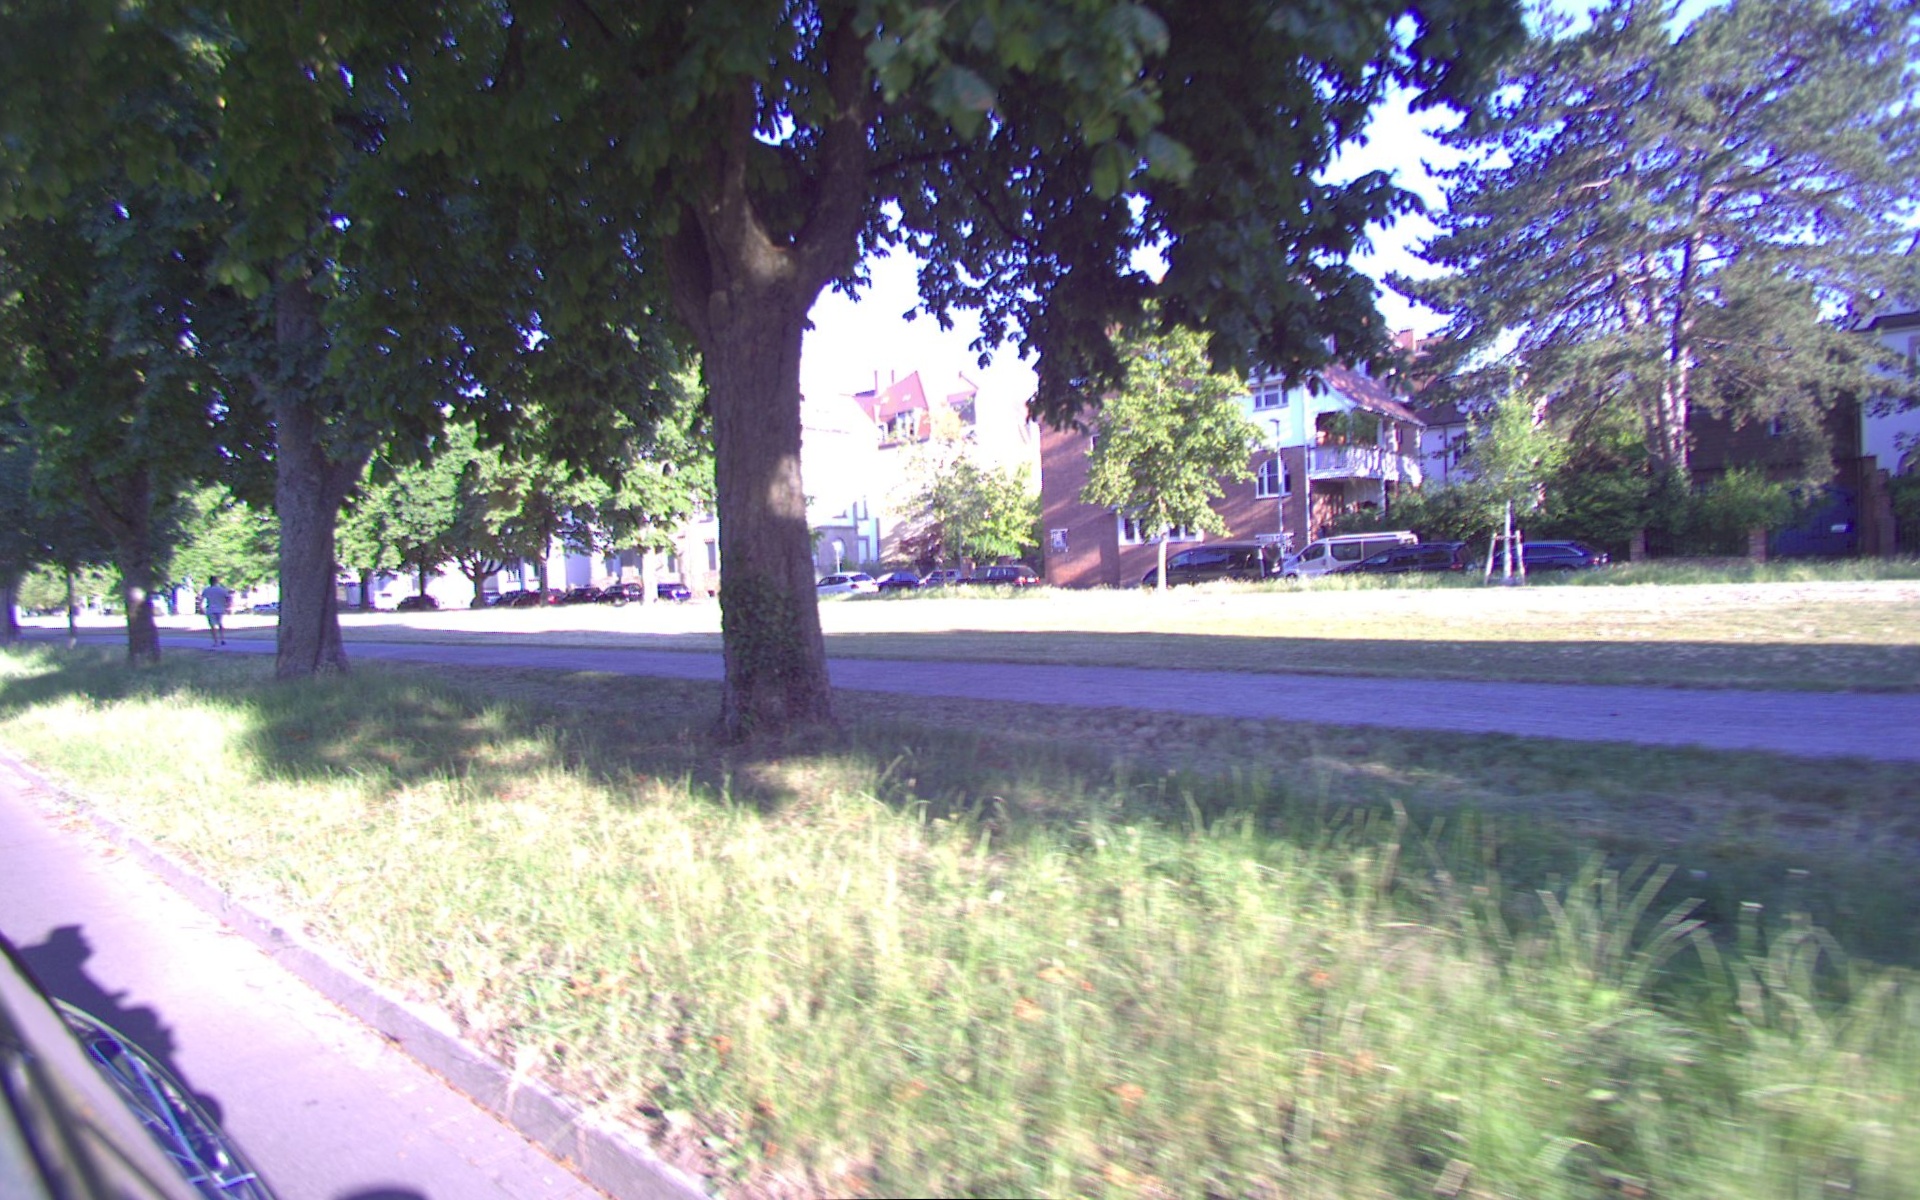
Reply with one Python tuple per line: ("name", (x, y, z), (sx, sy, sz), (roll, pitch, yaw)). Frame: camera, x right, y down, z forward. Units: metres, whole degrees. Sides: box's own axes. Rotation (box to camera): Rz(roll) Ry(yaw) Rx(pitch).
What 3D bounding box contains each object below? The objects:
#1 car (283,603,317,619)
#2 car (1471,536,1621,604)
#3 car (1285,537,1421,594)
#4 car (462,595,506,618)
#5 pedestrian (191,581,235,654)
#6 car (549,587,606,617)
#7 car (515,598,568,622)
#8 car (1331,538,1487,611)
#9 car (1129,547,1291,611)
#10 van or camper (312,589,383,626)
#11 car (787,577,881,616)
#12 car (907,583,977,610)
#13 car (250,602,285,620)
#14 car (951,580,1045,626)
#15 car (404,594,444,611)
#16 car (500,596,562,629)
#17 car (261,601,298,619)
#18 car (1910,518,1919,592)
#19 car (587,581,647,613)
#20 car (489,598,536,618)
("car", (-78.693, 1.280, 120.673), (4.870, 1.703, 1.974), (-2, 1, 39))
("car", (19.705, -0.997, 34.107), (3.999, 2.028, 1.972), (-2, 2, 43))
("car", (14.774, -1.280, 38.183), (4.406, 1.851, 1.798), (-3, 1, 41))
("car", (-40.803, 0.576, 86.726), (4.000, 1.747, 1.972), (-2, 1, 43))
("pedestrian", (-18.886, 0.449, 25.571), (0.716, 1.771, 0.994), (-3, 0, -43))
("car", (-28.723, 0.131, 75.997), (4.425, 2.028, 1.974), (-2, 1, 39))
("car", (-33.132, 0.781, 80.095), (4.425, 1.665, 1.974), (-2, 1, 40))
("car", (13.940, -0.771, 31.530), (3.998, 2.028, 1.973), (-2, 2, 41))
("car", (8.824, -0.729, 36.050), (5.244, 1.955, 1.973), (-3, 1, 42))
("van or camper", (-56.349, 0.718, 93.038), (7.893, 3.134, 3.221), (-2, 1, 41))
("car", (-6.147, -0.176, 49.059), (4.647, 1.651, 1.801), (-2, 1, 41))
("car", (-1.231, -0.248, 70.443), (2.188, 1.619, 4.805), (-2, 1, 41))
("car", (-75.236, 1.227, 109.915), (4.873, 1.703, 1.973), (-2, 1, 41))
("car", (1.797, 0.172, 49.248), (4.366, 2.028, 1.738), (-3, 1, 41))
("car", (-50.746, 0.222, 95.755), (3.997, 1.475, 1.974), (-2, 2, 41))
("car", (-29.461, 0.872, 69.469), (4.875, 2.028, 1.972), (-2, 1, 43))
("car", (-71.217, 1.088, 105.842), (4.873, 1.703, 1.973), (-2, 1, 41))
("car", (28.204, -1.326, 27.064), (4.002, 2.028, 1.971), (-2, 2, 45))
("car", (-24.662, -0.187, 72.678), (4.875, 2.028, 1.972), (-2, 1, 43))
("car", (-37.186, 0.656, 84.096), (4.168, 1.440, 1.972), (-3, 1, 43))
